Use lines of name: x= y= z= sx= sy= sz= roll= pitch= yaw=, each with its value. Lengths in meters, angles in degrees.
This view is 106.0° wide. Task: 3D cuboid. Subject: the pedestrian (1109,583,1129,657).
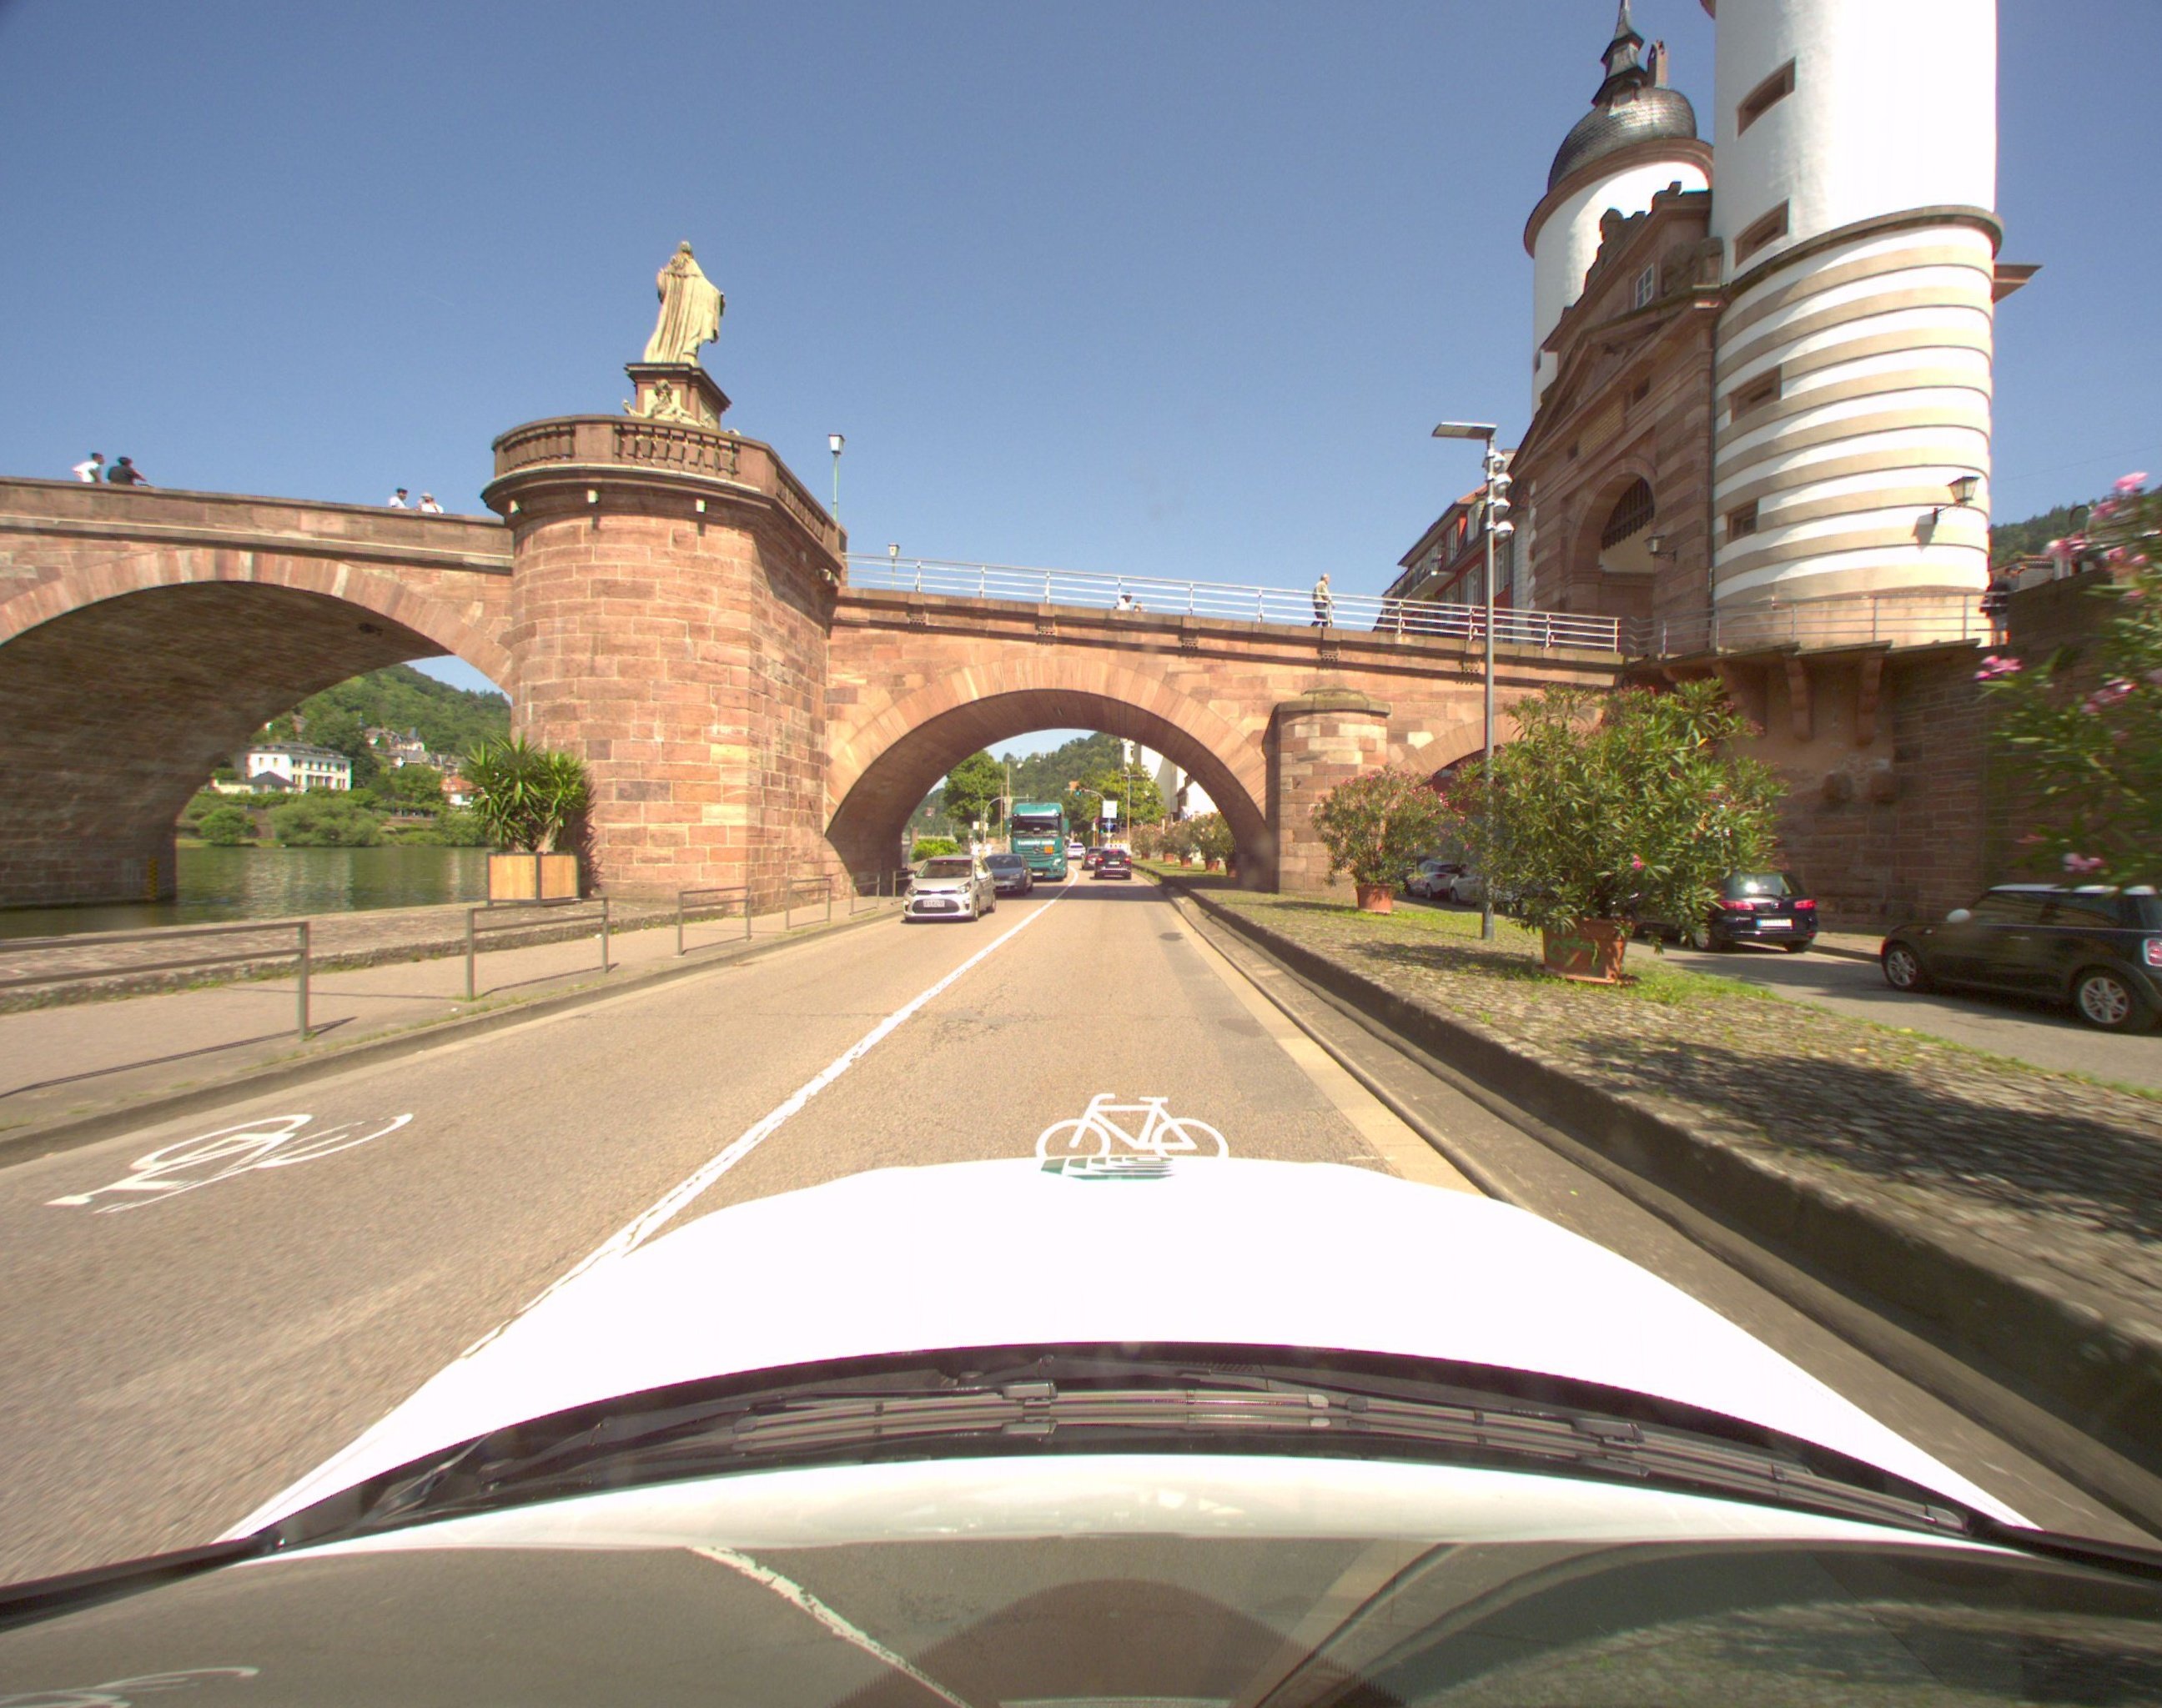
pedestrian: x=1.107 y=-6.871 z=23.949 sx=0.579 sy=2.014 sz=0.586 roll=0 pitch=-1 yaw=2

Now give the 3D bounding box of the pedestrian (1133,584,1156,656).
pedestrian: x=1.925 y=-7.089 z=24.667 sx=0.681 sy=2.014 sz=0.586 roll=0 pitch=-1 yaw=2

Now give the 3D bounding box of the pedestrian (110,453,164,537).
pedestrian: x=-25.708 y=-9.756 z=22.190 sx=0.691 sy=2.014 sz=0.625 roll=0 pitch=-1 yaw=-1

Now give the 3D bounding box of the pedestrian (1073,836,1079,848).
pedestrian: x=-0.726 y=-1.712 z=120.151 sx=0.679 sy=1.742 sz=0.912 roll=1 pitch=-1 yaw=-4

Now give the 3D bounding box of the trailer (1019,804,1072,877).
trailer: x=-1.836 y=-0.738 z=46.455 sx=2.516 sy=3.644 sz=11.529 roll=0 pitch=1 yaw=0

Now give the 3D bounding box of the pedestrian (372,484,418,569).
pedestrian: x=-18.664 y=-8.905 z=22.171 sx=0.622 sy=2.014 sz=0.694 roll=0 pitch=-1 yaw=-5

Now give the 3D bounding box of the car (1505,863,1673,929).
car: x=12.660 y=0.972 z=20.662 sx=1.767 sy=1.437 sz=4.498 roll=1 pitch=0 yaw=5

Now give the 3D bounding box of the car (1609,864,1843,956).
car: x=12.071 y=0.951 z=15.613 sx=1.765 sy=1.502 sz=3.996 roll=0 pitch=0 yaw=8

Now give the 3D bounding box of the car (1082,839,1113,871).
car: x=1.074 y=0.068 z=52.969 sx=1.986 sy=2.014 sz=4.000 roll=0 pitch=-1 yaw=1

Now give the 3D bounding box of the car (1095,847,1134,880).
car: x=1.679 y=0.448 z=40.992 sx=1.850 sy=1.523 sz=4.003 roll=0 pitch=1 yaw=2

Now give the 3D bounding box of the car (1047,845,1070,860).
car: x=-2.580 y=-0.124 z=91.769 sx=1.993 sy=1.662 sz=3.987 roll=1 pitch=-1 yaw=-10

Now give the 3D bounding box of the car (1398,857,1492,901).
car: x=13.436 y=0.883 z=30.390 sx=1.884 sy=1.492 sz=4.423 roll=0 pitch=0 yaw=5

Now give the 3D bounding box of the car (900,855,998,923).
car: x=-2.998 y=0.759 z=19.233 sx=1.528 sy=1.437 sz=3.730 roll=-1 pitch=0 yaw=3

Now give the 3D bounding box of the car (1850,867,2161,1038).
car: x=10.937 y=0.931 z=9.124 sx=1.580 sy=1.520 sz=3.916 roll=1 pitch=0 yaw=12

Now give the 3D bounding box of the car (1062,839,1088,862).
car: x=-0.596 y=-0.323 z=74.426 sx=1.991 sy=2.014 sz=3.992 roll=1 pitch=0 yaw=-6

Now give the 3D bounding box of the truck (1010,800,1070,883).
truck: x=-1.922 y=-0.609 z=40.267 sx=2.515 sy=3.748 sz=6.247 roll=-1 pitch=1 yaw=1

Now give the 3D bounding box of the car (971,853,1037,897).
car: x=-2.650 y=0.703 z=28.963 sx=1.716 sy=1.437 sz=4.403 roll=-1 pitch=0 yaw=3

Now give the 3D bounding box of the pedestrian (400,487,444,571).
pedestrian: x=-18.056 y=-8.902 z=22.323 sx=0.622 sy=2.014 sz=0.694 roll=0 pitch=-1 yaw=-5

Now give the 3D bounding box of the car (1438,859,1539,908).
car: x=13.035 y=0.892 z=26.275 sx=1.548 sy=1.419 sz=3.570 roll=0 pitch=0 yaw=1

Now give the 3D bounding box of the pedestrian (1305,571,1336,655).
pedestrian: x=6.270 y=-6.303 z=21.365 sx=0.621 sy=2.014 sz=0.695 roll=0 pitch=-1 yaw=2
